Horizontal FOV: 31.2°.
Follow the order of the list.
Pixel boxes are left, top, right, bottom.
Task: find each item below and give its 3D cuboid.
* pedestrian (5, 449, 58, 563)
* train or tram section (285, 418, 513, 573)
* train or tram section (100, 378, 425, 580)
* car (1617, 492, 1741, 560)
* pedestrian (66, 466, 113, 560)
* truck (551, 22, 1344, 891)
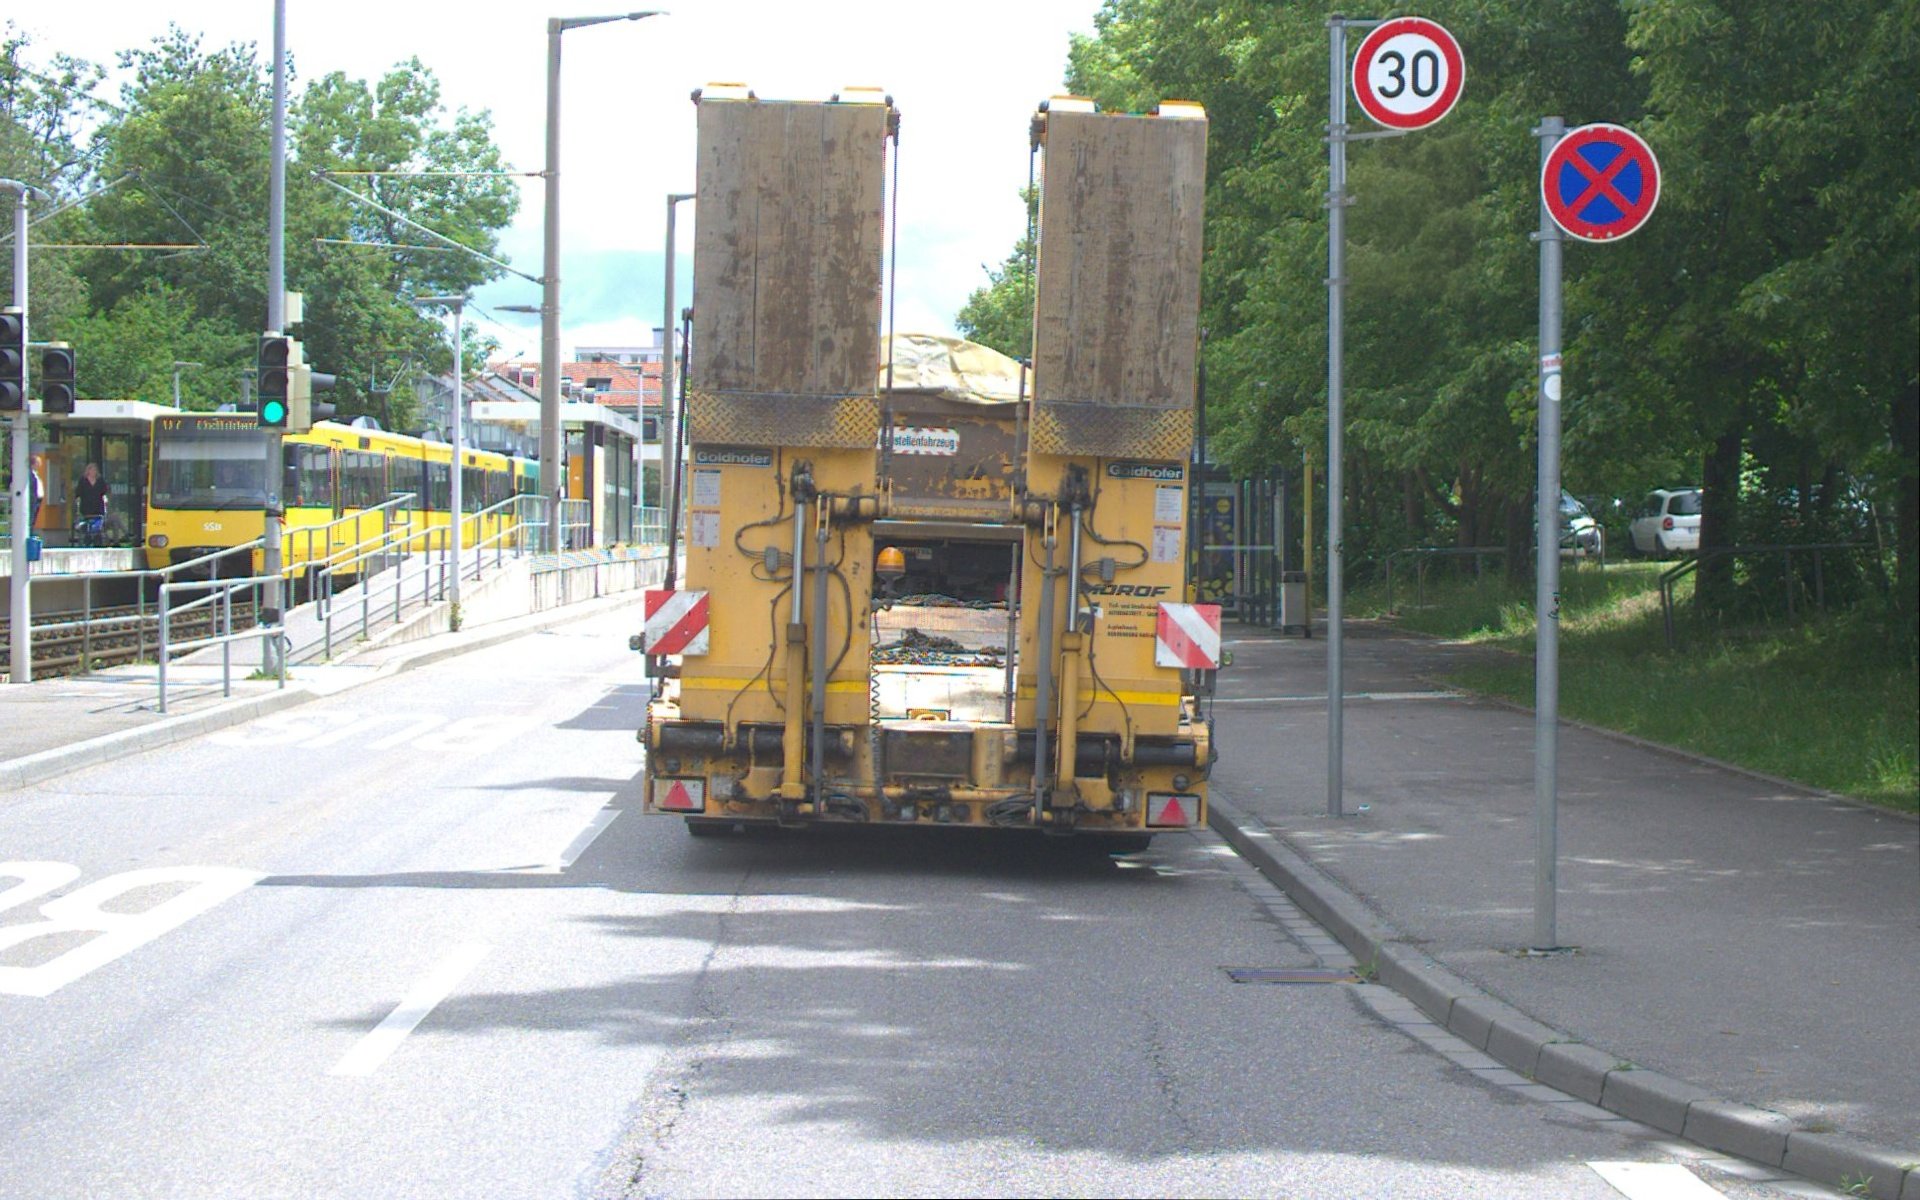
[{"bbox_3d":[-16.709,-1.684,61.882,0.712,2.007,0.732,2,1,-3],"label":"pedestrian"},{"bbox_3d":[-14.273,-2.568,89.346,3.108,3.453,18.998,2,1,-1],"label":"train or tram section"},{"bbox_3d":[-13.845,-2.292,70.418,3.108,3.453,18.827,2,1,-1],"label":"train or tram section"},{"bbox_3d":[15.962,-1.629,76.490,1.841,1.415,4.124,-1,1,-1],"label":"car"},{"bbox_3d":[-15.965,-1.593,63.088,0.639,1.701,0.646,2,1,-1],"label":"pedestrian"},{"bbox_3d":[-0.473,-0.721,21.821,3.402,3.719,13.741,1,1,-4],"label":"truck"}]
